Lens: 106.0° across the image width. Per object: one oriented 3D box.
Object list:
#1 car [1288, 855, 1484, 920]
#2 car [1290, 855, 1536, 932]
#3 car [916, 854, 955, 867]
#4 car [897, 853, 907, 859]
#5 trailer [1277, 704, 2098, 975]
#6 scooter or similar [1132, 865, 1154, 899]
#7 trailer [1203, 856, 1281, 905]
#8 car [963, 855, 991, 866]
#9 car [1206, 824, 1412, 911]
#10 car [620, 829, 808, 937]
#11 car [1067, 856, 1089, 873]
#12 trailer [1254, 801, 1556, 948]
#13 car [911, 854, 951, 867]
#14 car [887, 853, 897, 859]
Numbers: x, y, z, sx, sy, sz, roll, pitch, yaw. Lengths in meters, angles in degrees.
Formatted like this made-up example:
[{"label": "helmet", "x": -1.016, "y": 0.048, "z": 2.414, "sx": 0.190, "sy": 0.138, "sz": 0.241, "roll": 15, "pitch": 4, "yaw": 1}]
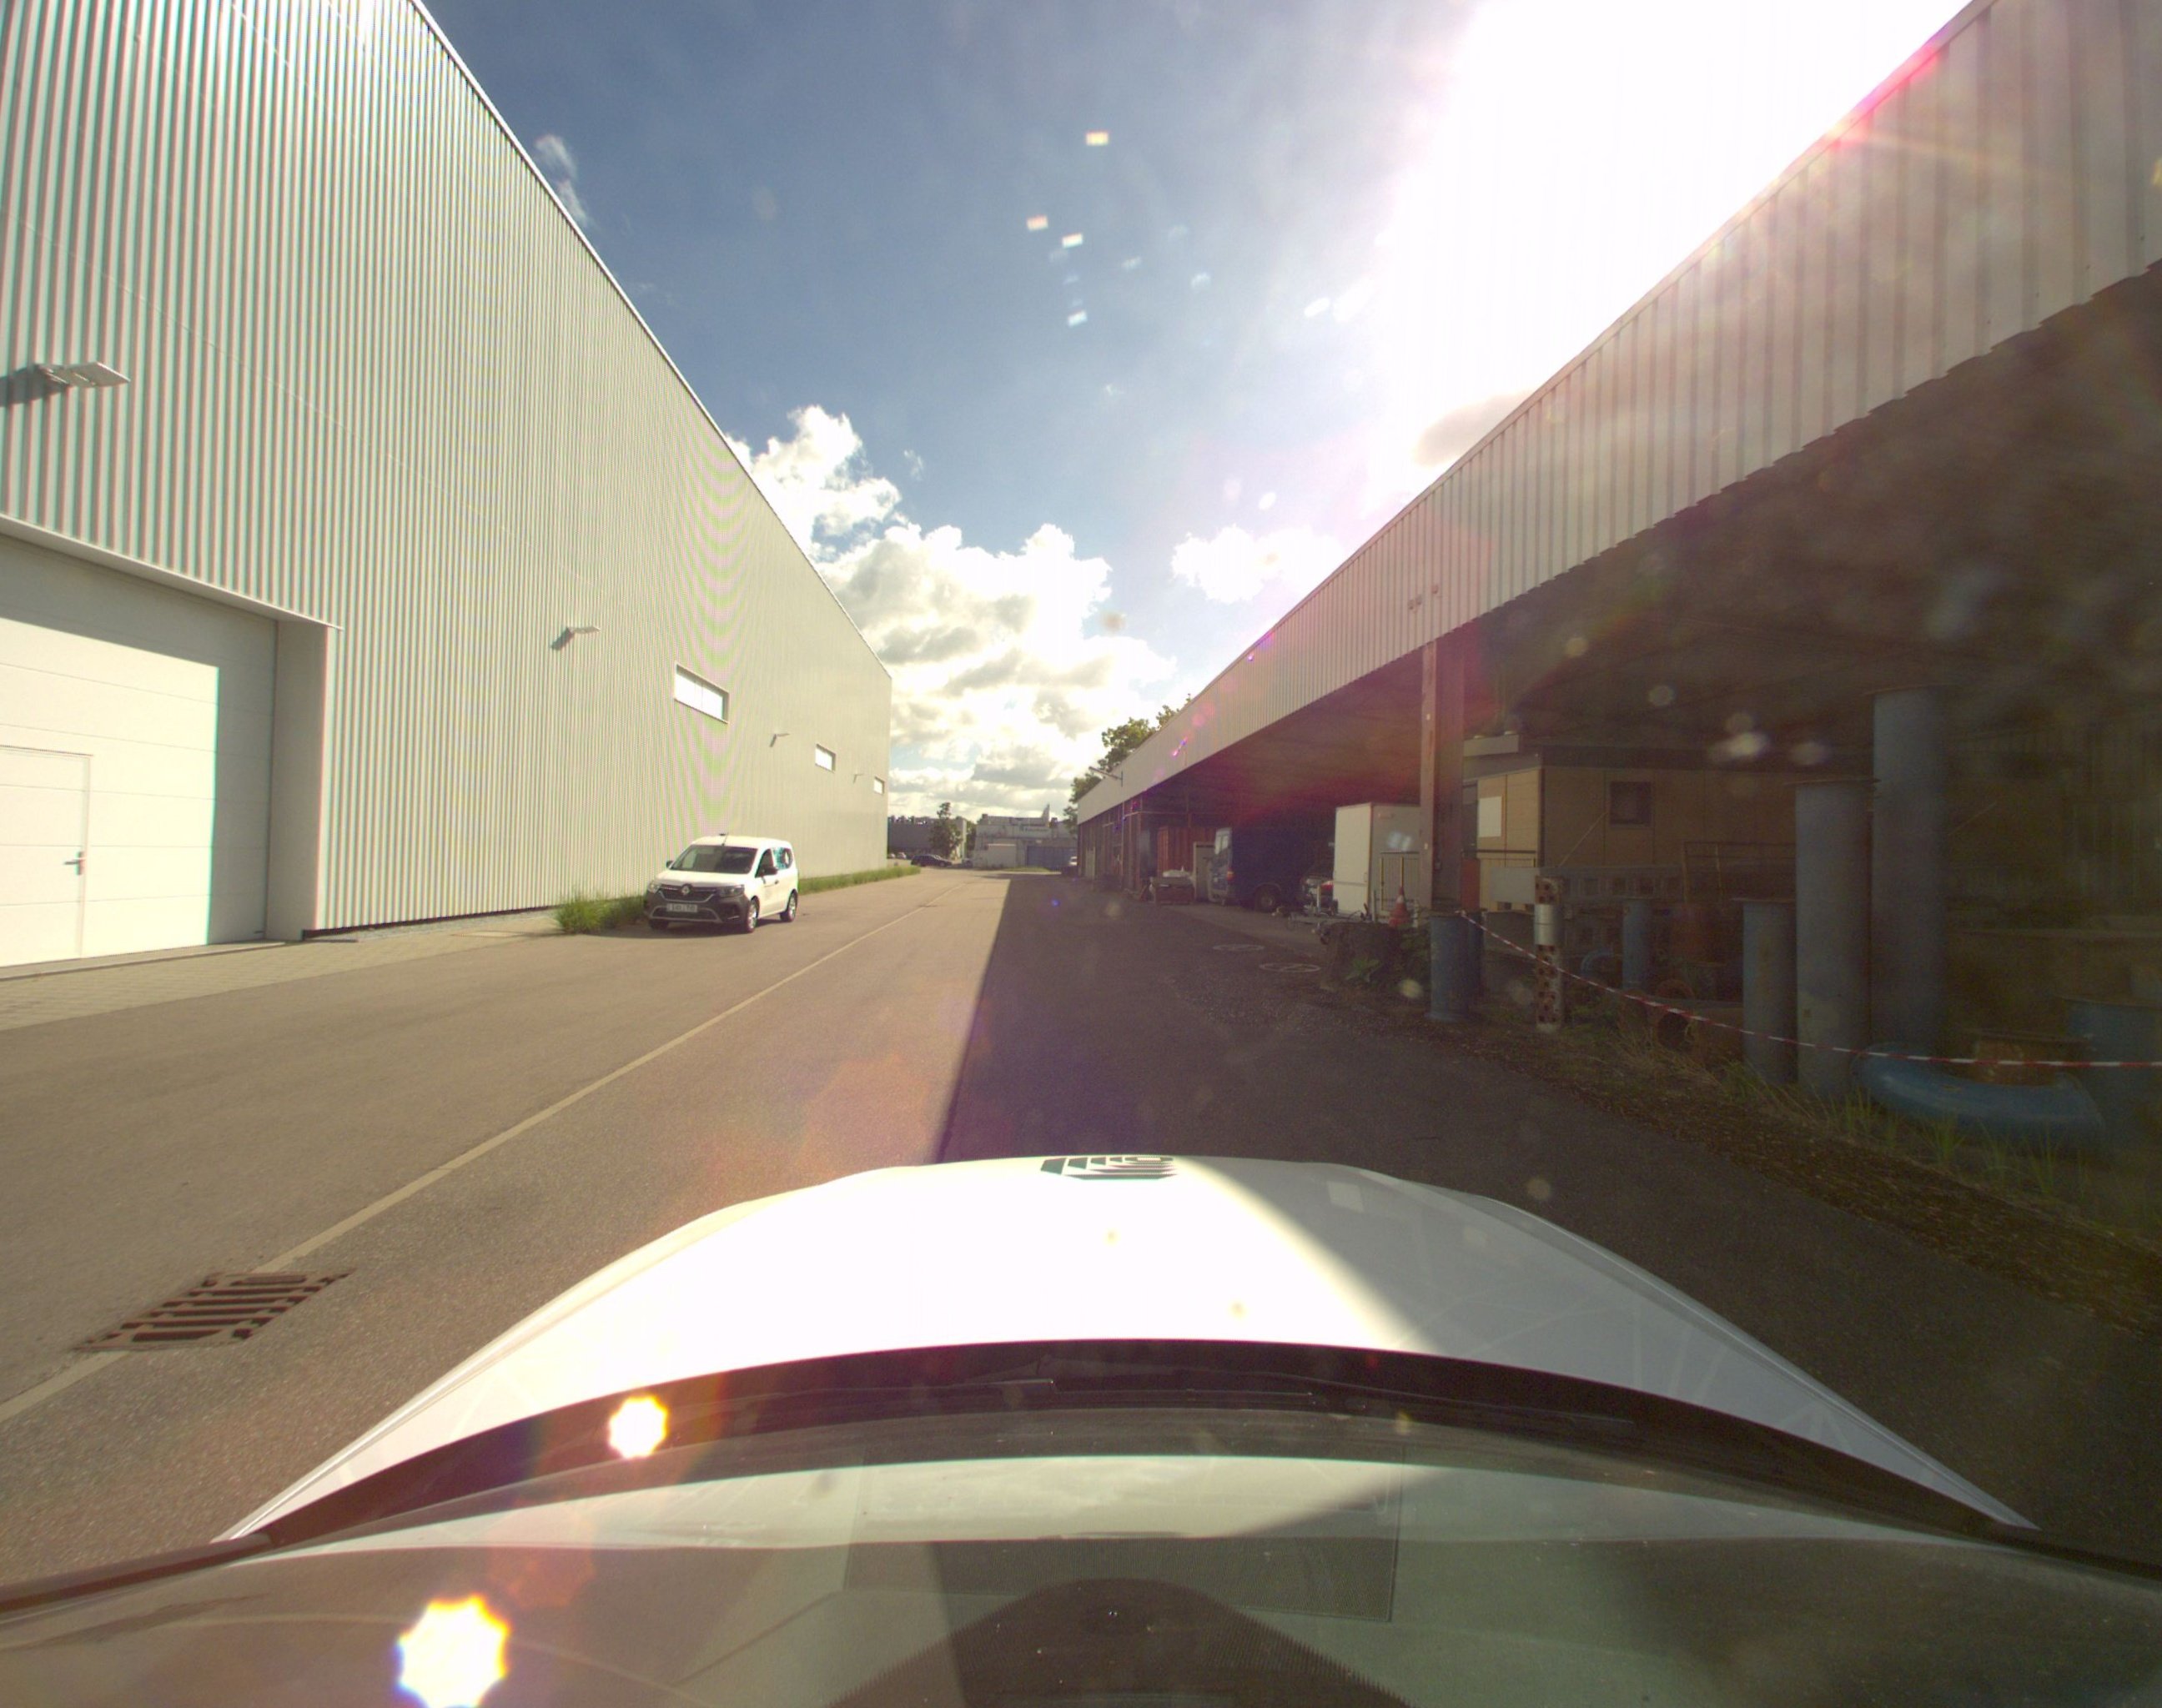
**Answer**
[{"label": "car", "x": 7.328, "y": 0.773, "z": 19.795, "sx": 4.101, "sy": 1.454, "sz": 1.847, "roll": 0, "pitch": -1, "yaw": -6}, {"label": "car", "x": 6.699, "y": 0.762, "z": 16.667, "sx": 4.342, "sy": 1.433, "sz": 1.859, "roll": 0, "pitch": -1, "yaw": -9}, {"label": "car", "x": -18.042, "y": 0.816, "z": 101.015, "sx": 4.522, "sy": 1.443, "sz": 1.900, "roll": 1, "pitch": -2, "yaw": -5}, {"label": "car", "x": -42.402, "y": 0.442, "z": 192.664, "sx": 1.876, "sy": 1.537, "sz": 4.025, "roll": 0, "pitch": -1, "yaw": -7}, {"label": "trailer", "x": 8.246, "y": -0.205, "z": 11.691, "sx": 10.274, "sy": 3.295, "sz": 2.671, "roll": 0, "pitch": 0, "yaw": -5}, {"label": "scooter or similar", "x": 2.143, "y": 0.970, "z": 28.291, "sx": 0.519, "sy": 1.134, "sz": 1.589, "roll": 1, "pitch": -1, "yaw": -5}, {"label": "trailer", "x": 4.990, "y": 0.812, "z": 25.386, "sx": 2.089, "sy": 1.462, "sz": 1.640, "roll": 1, "pitch": -1, "yaw": -2}, {"label": "car", "x": -16.028, "y": 0.950, "z": 125.775, "sx": 4.272, "sy": 1.569, "sz": 1.983, "roll": 1, "pitch": -2, "yaw": -5}, {"label": "car", "x": 6.318, "y": 0.389, "z": 22.909, "sx": 5.209, "sy": 2.297, "sz": 2.080, "roll": 1, "pitch": -1, "yaw": -6}, {"label": "car", "x": -7.111, "y": 0.511, "z": 16.393, "sx": 1.925, "sy": 1.790, "sz": 4.590, "roll": 3, "pitch": 0, "yaw": -5}, {"label": "car", "x": -0.379, "y": 1.081, "z": 86.853, "sx": 1.978, "sy": 1.593, "sz": 4.333, "roll": 2, "pitch": 1, "yaw": -5}, {"label": "trailer", "x": 5.420, "y": 0.312, "z": 13.940, "sx": 4.533, "sy": 2.335, "sz": 1.686, "roll": 0, "pitch": 0, "yaw": -5}, {"label": "car", "x": -18.008, "y": 0.801, "z": 97.751, "sx": 4.522, "sy": 1.443, "sz": 1.983, "roll": 1, "pitch": -2, "yaw": -5}, {"label": "car", "x": -44.697, "y": 0.454, "z": 192.214, "sx": 1.876, "sy": 1.537, "sz": 4.025, "roll": 0, "pitch": -1, "yaw": -7}]
